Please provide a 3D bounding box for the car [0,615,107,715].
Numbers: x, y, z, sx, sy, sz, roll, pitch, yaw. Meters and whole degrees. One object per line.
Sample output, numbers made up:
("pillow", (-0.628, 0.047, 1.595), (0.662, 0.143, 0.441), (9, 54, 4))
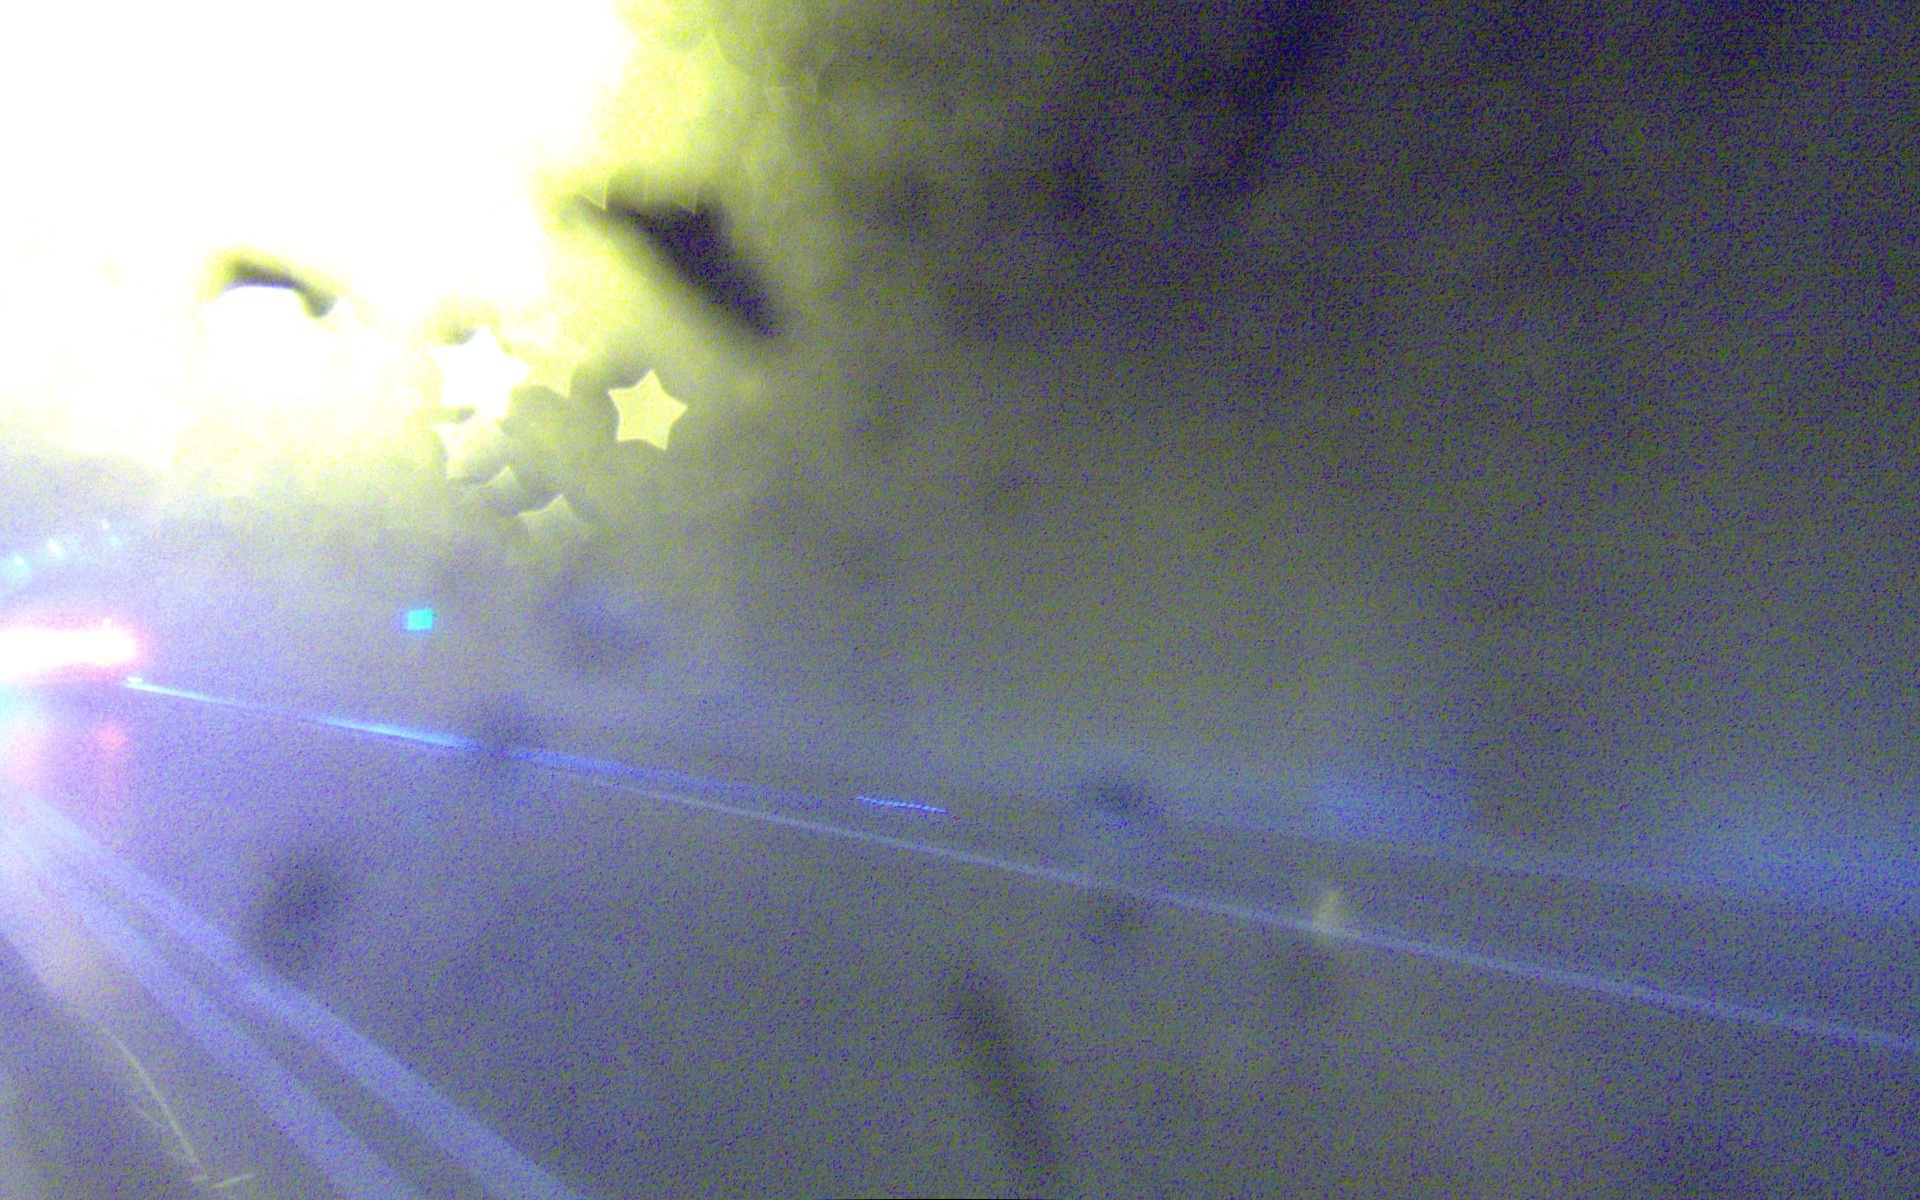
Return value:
("car", (-16.765, 1.105, 18.269), (3.728, 1.644, 1.552), (-1, -2, 41))
